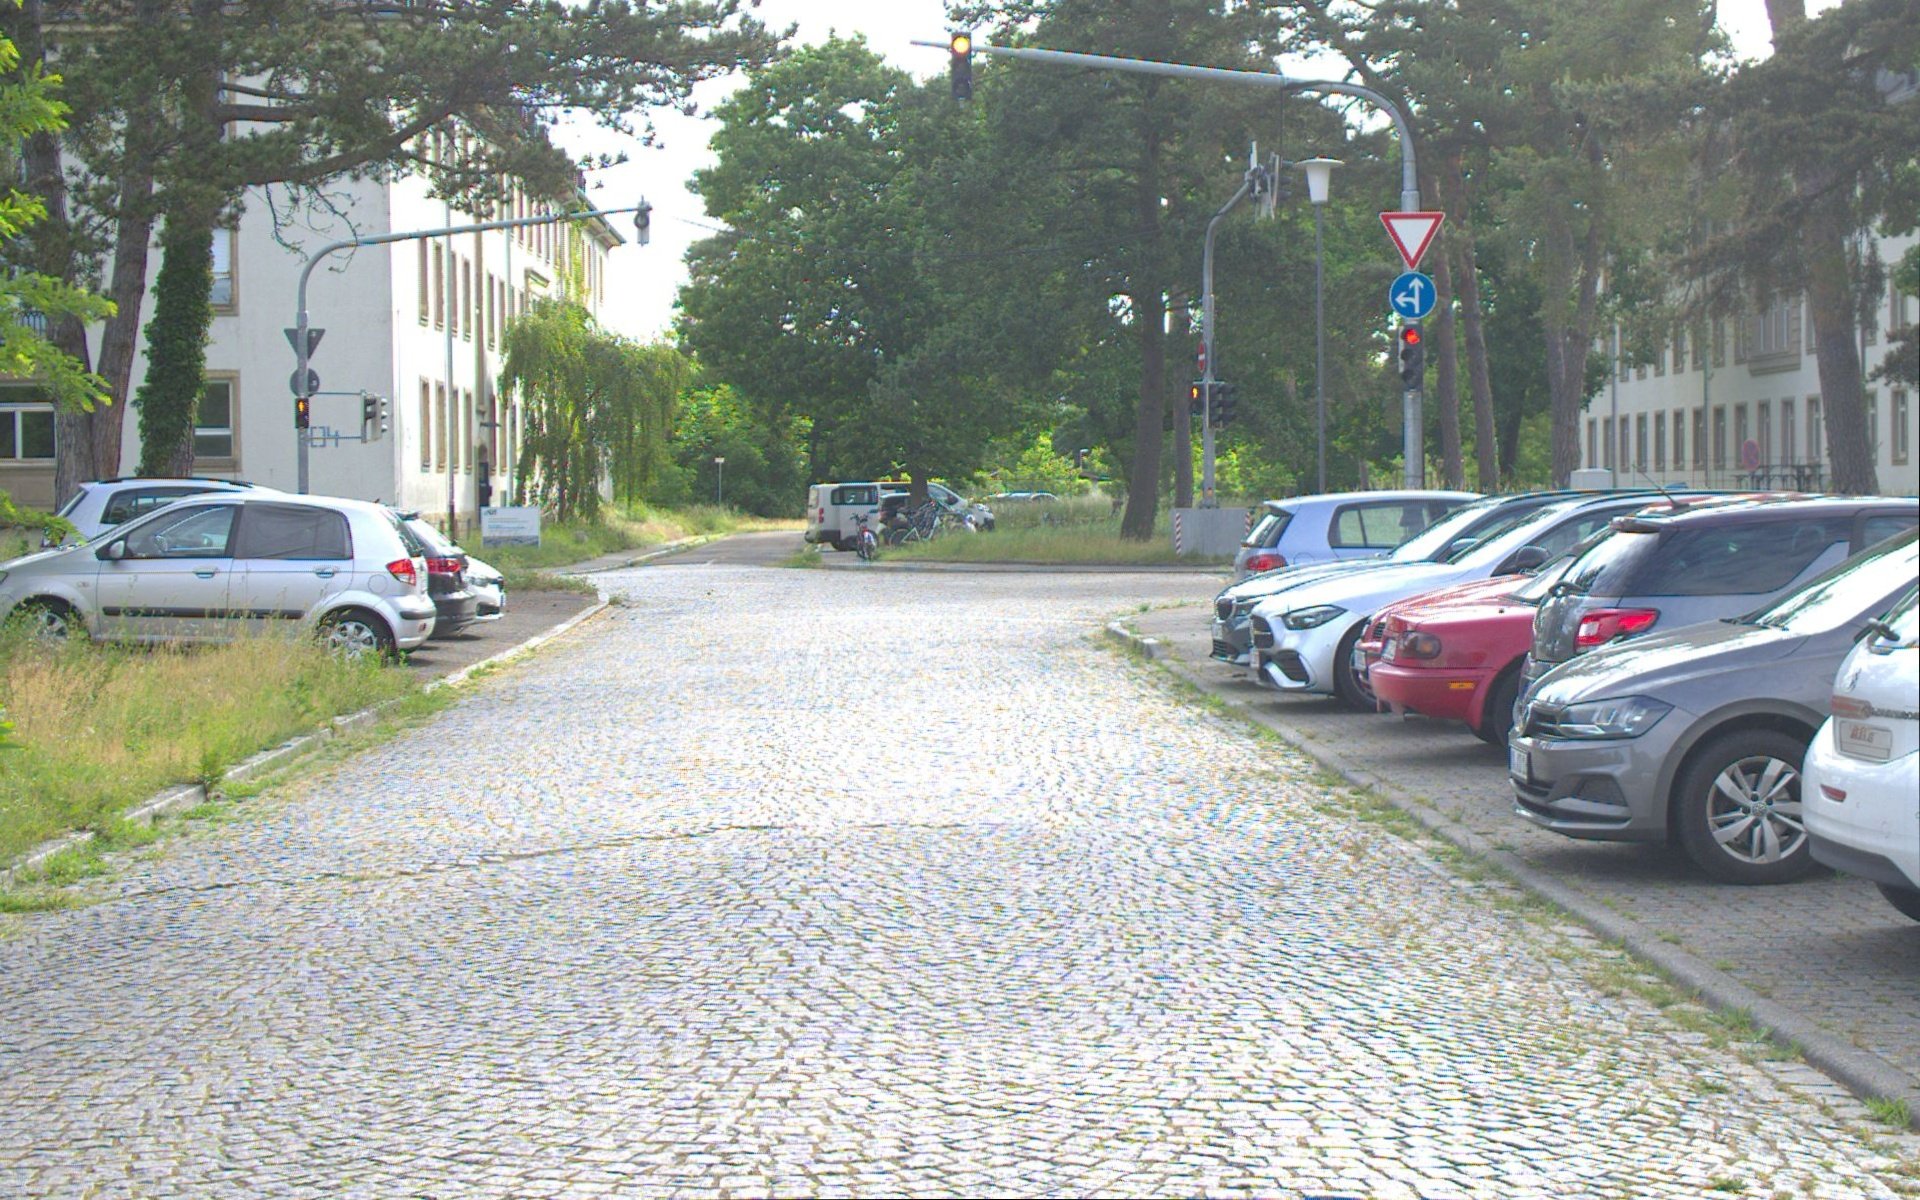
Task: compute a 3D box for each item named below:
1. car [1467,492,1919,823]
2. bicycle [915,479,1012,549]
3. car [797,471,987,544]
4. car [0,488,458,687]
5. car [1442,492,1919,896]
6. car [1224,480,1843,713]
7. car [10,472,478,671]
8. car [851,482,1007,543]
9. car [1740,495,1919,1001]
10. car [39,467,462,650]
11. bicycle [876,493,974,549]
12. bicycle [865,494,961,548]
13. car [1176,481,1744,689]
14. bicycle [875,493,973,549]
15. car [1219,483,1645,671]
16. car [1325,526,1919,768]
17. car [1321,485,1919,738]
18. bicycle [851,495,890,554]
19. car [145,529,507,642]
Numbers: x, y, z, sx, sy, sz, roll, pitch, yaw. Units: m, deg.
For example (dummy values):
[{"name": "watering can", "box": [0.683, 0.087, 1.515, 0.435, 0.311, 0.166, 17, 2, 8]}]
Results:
[{"name": "car", "box": [4.367, 0.227, 17.051, 3.291, 1.499, 1.665, -1, 2, -12]}, {"name": "bicycle", "box": [0.084, -1.995, 79.796, 2.160, 1.610, 0.813, 0, 2, -8]}, {"name": "car", "box": [-1.922, -2.596, 96.273, 5.049, 2.006, 2.001, 0, 2, -12]}, {"name": "car", "box": [-6.206, -0.132, 28.571, 3.986, 1.546, 2.001, -1, 2, -8]}, {"name": "car", "box": [3.983, 0.313, 14.164, 3.597, 1.501, 1.665, -1, 2, -12]}, {"name": "car", "box": [3.994, -0.058, 24.239, 3.986, 1.538, 1.665, -1, 2, -7]}, {"name": "car", "box": [-6.380, -0.292, 31.058, 3.986, 1.700, 2.001, -1, 2, -8]}, {"name": "car", "box": [-0.855, -2.379, 93.024, 3.986, 1.638, 2.001, 0, 2, -7]}, {"name": "car", "box": [4.403, 0.406, 11.200, 3.292, 1.499, 1.664, -1, 2, -4]}, {"name": "car", "box": [-6.957, -0.440, 34.078, 3.986, 1.744, 1.928, 0, 2, -8]}, {"name": "bicycle", "box": [-0.803, -1.806, 78.482, 2.160, 1.264, 0.813, 0, 2, -8]}, {"name": "bicycle", "box": [-1.099, -1.848, 80.277, 2.160, 1.264, 0.813, 0, 2, -8]}, {"name": "car", "box": [3.888, -0.151, 27.048, 4.122, 1.538, 1.665, -1, 2, -7]}, {"name": "bicycle", "box": [-0.825, -1.819, 79.069, 2.160, 1.264, 0.813, 0, 2, -8]}, {"name": "car", "box": [4.037, -0.220, 29.622, 3.388, 1.538, 1.391, -1, 2, -7]}, {"name": "car", "box": [3.903, 0.235, 19.758, 3.291, 1.263, 1.665, -1, 2, -7]}, {"name": "car", "box": [4.456, 0.035, 22.015, 3.986, 1.538, 1.664, 0, 2, -7]}, {"name": "bicycle", "box": [-1.942, -1.643, 74.698, 0.810, 1.264, 1.973, 0, 2, -1]}, {"name": "car", "box": [-6.636, -0.169, 36.283, 3.670, 1.090, 1.647, -1, 2, -8]}]
